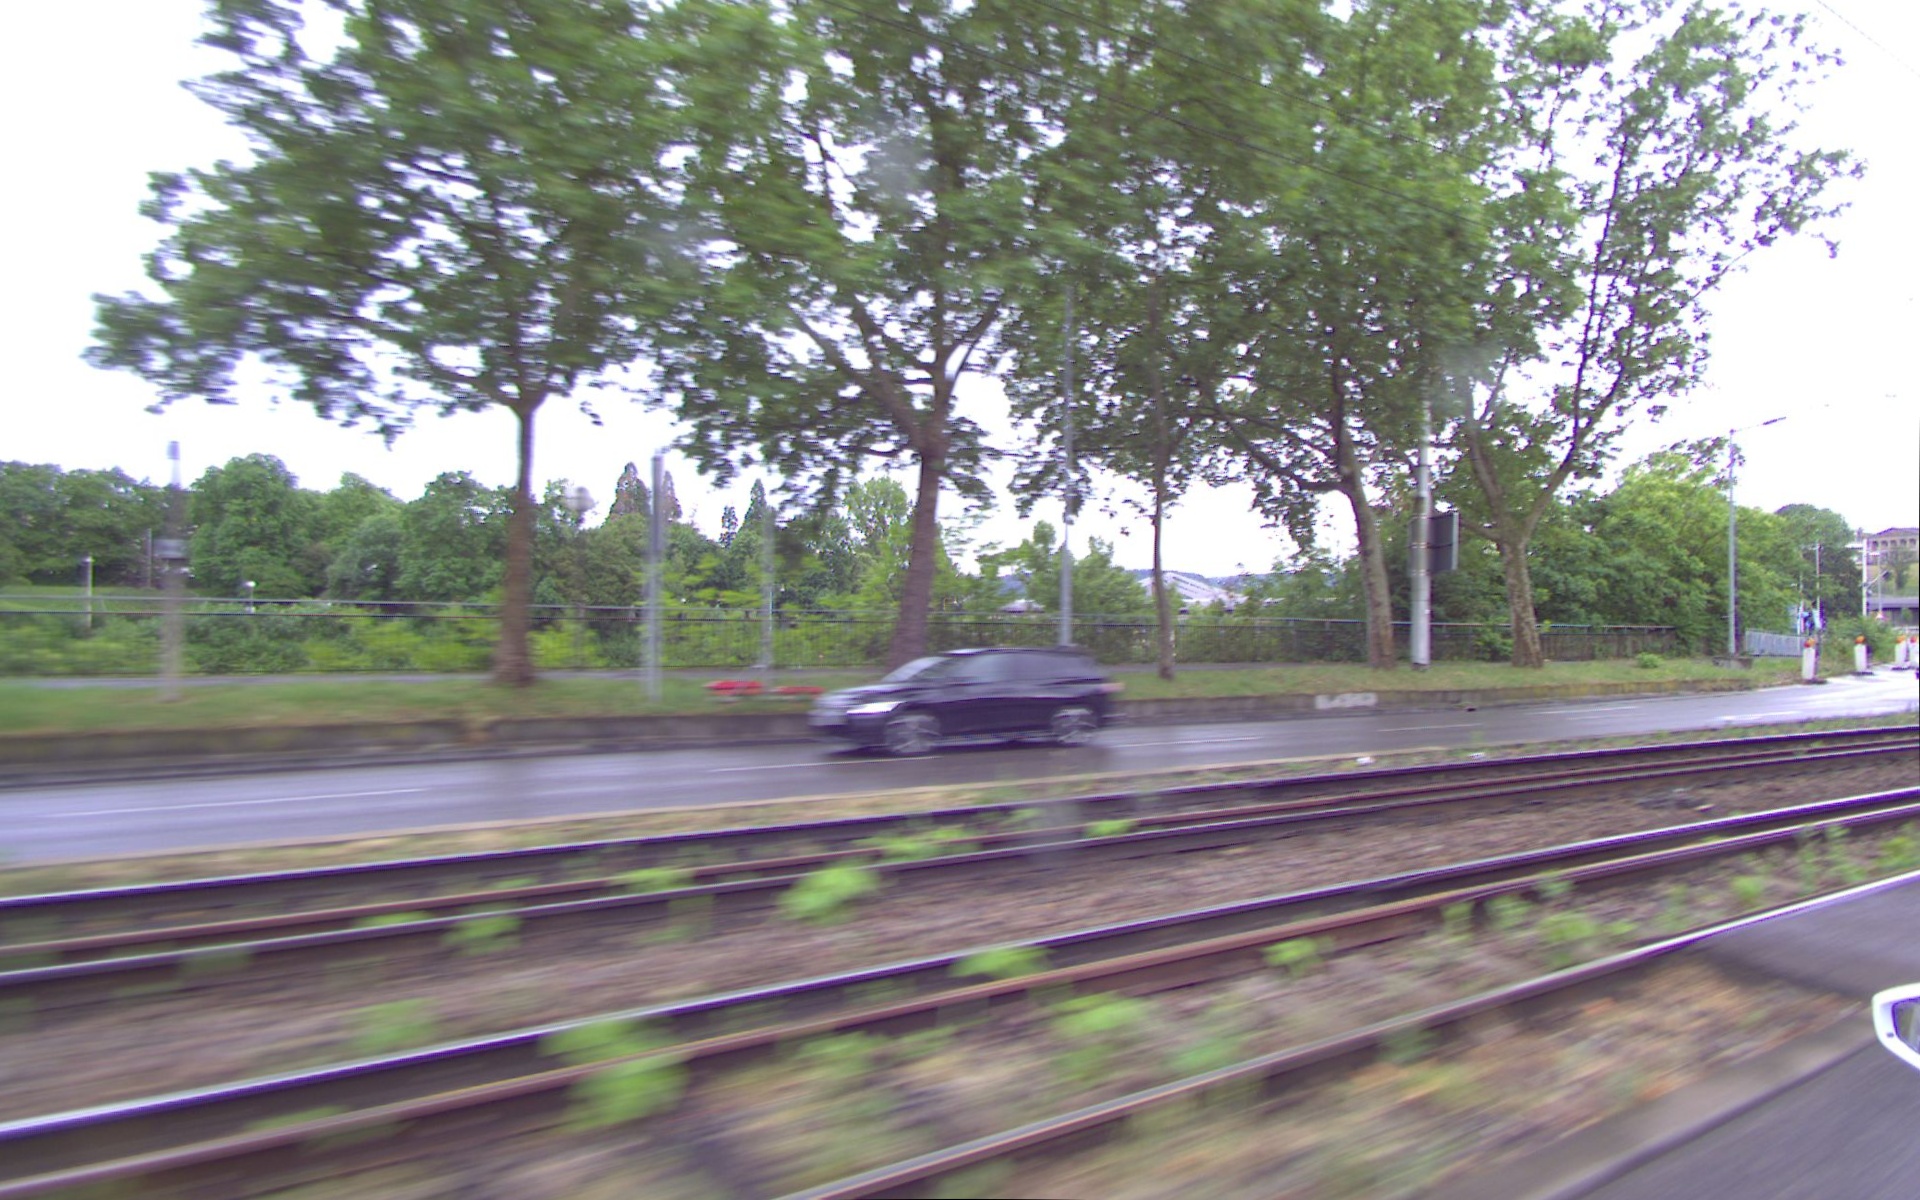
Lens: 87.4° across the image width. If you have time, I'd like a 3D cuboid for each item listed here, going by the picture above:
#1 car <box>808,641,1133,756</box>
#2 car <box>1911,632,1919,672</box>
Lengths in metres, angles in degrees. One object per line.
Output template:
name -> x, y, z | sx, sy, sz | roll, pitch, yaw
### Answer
car -> 0.220, 1.324, 14.579 | 4.509, 1.448, 1.738 | 1, -3, -31
car -> 38.397, 1.985, 38.849 | 4.679, 1.518, 1.696 | 1, -3, -39
